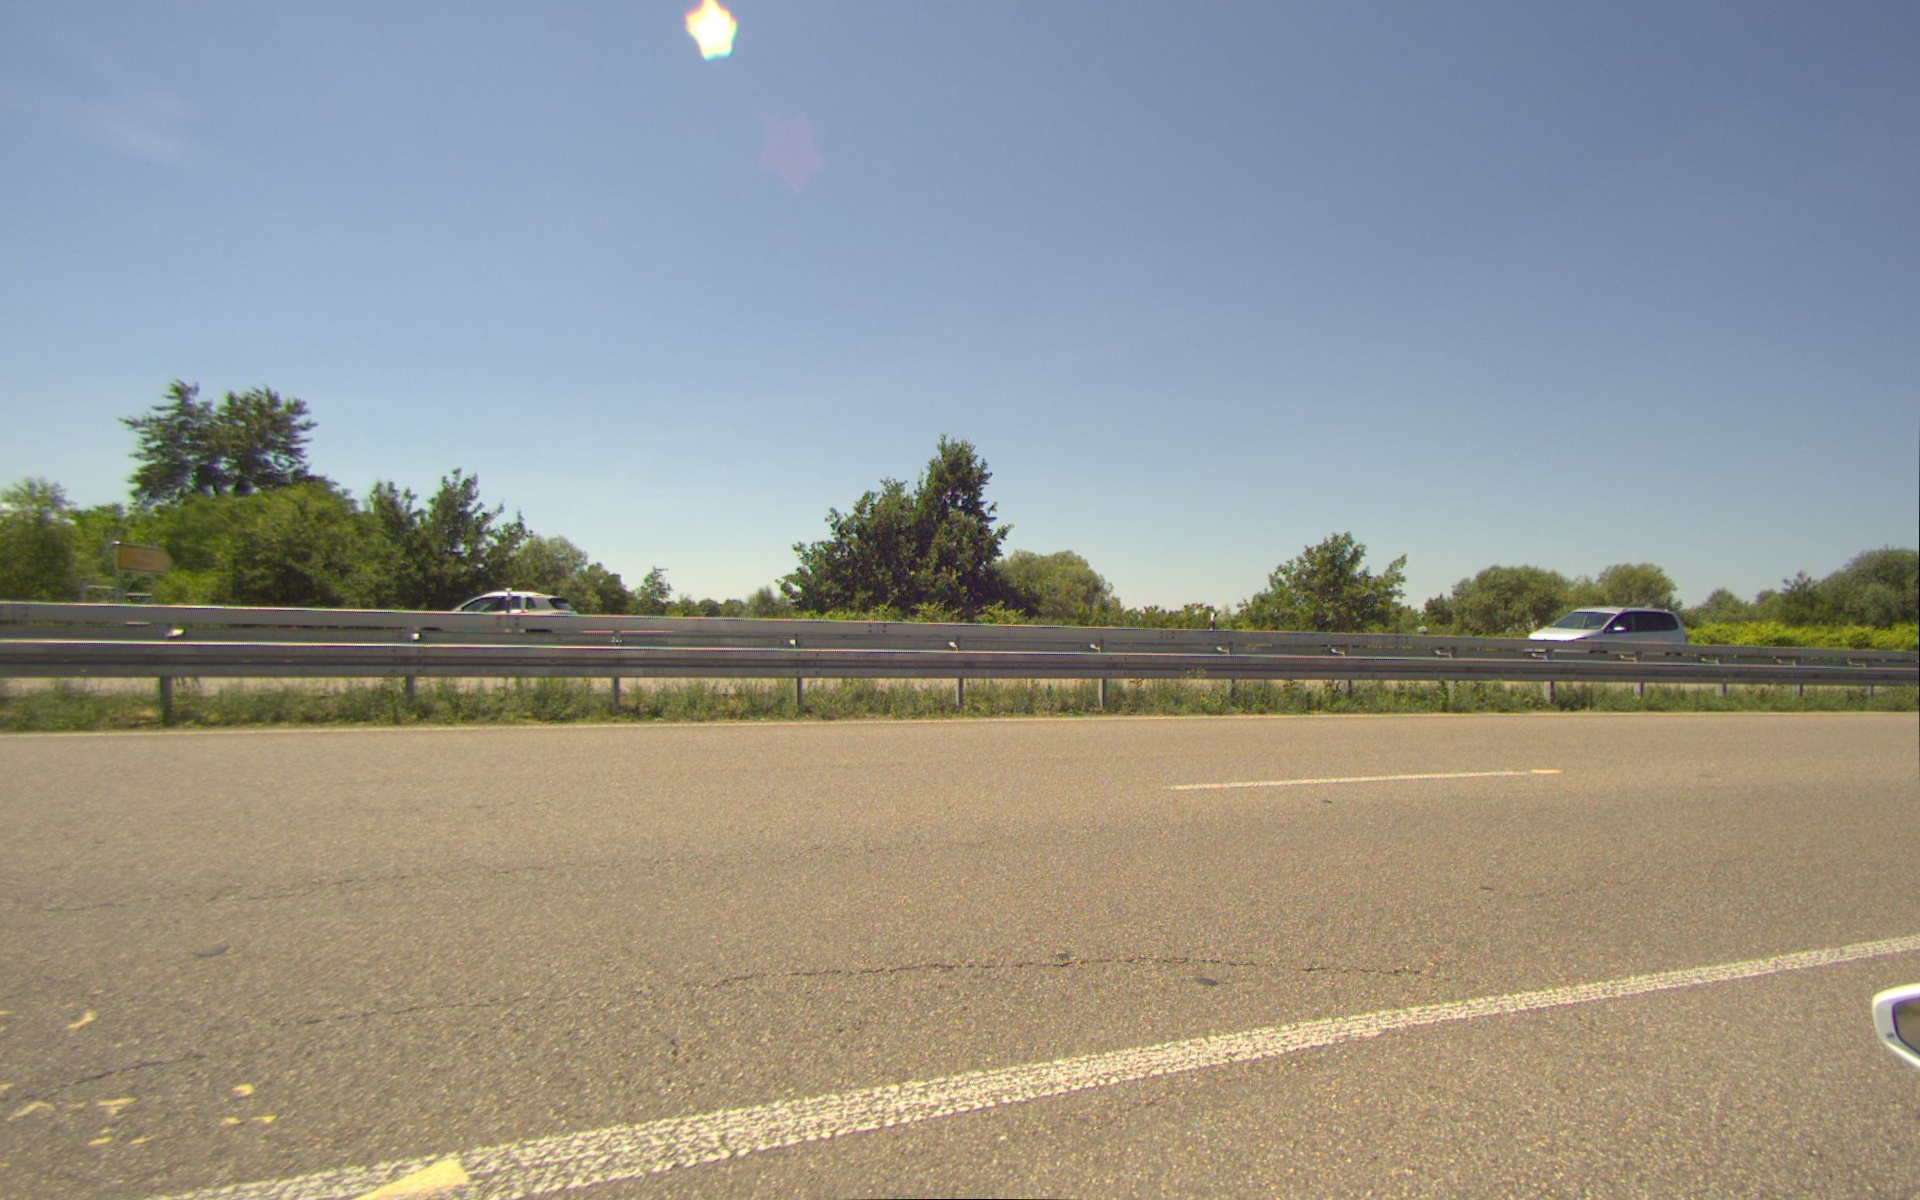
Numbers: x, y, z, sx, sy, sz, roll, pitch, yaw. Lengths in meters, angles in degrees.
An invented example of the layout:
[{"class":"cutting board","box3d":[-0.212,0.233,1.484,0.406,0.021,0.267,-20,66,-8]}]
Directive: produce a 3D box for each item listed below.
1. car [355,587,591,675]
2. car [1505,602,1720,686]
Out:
[{"class":"car","box3d":[-12.210,0.781,25.494,4.820,1.918,2.209,3,-1,-6]},{"class":"car","box3d":[17.007,1.146,26.218,4.838,1.918,2.201,3,-1,-20]}]
